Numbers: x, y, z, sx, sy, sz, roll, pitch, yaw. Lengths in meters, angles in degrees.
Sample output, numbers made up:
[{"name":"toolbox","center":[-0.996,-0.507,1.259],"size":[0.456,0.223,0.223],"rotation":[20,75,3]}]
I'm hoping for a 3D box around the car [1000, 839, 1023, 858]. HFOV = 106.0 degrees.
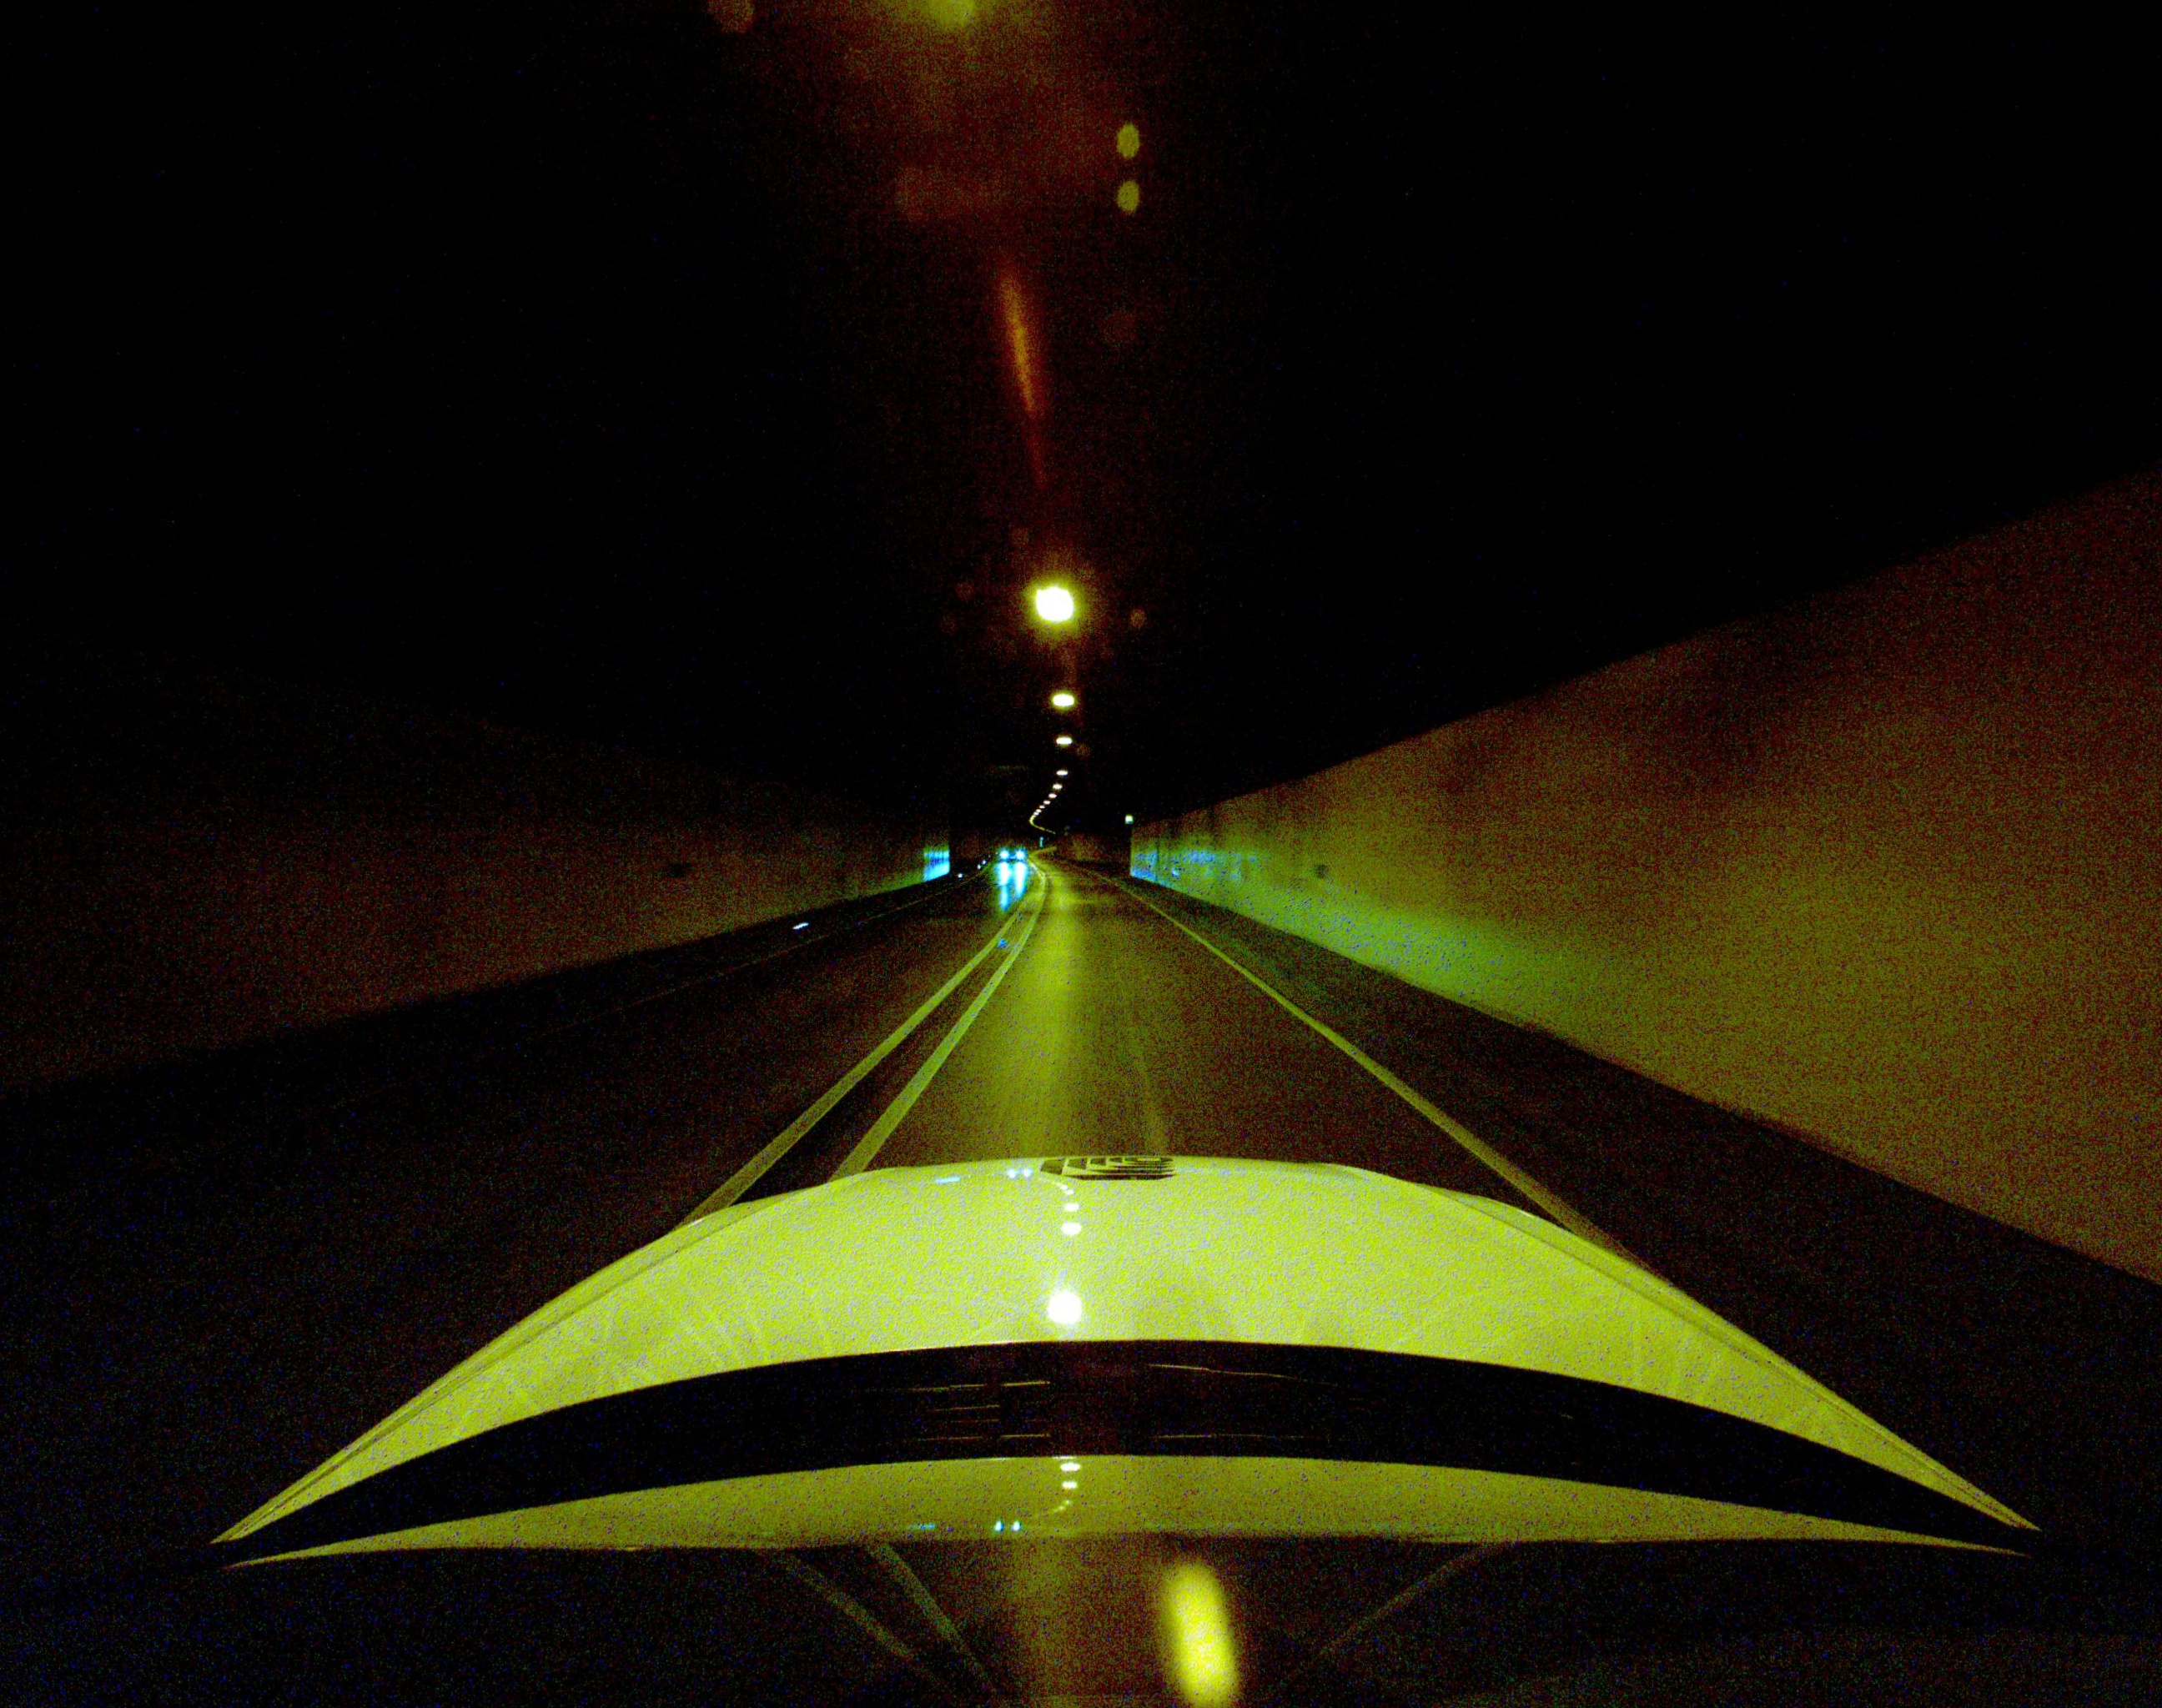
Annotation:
[{"name":"car","center":[-6.284,-0.480,73.807],"size":[1.990,1.596,3.993],"rotation":[1,-1,-5]}]
